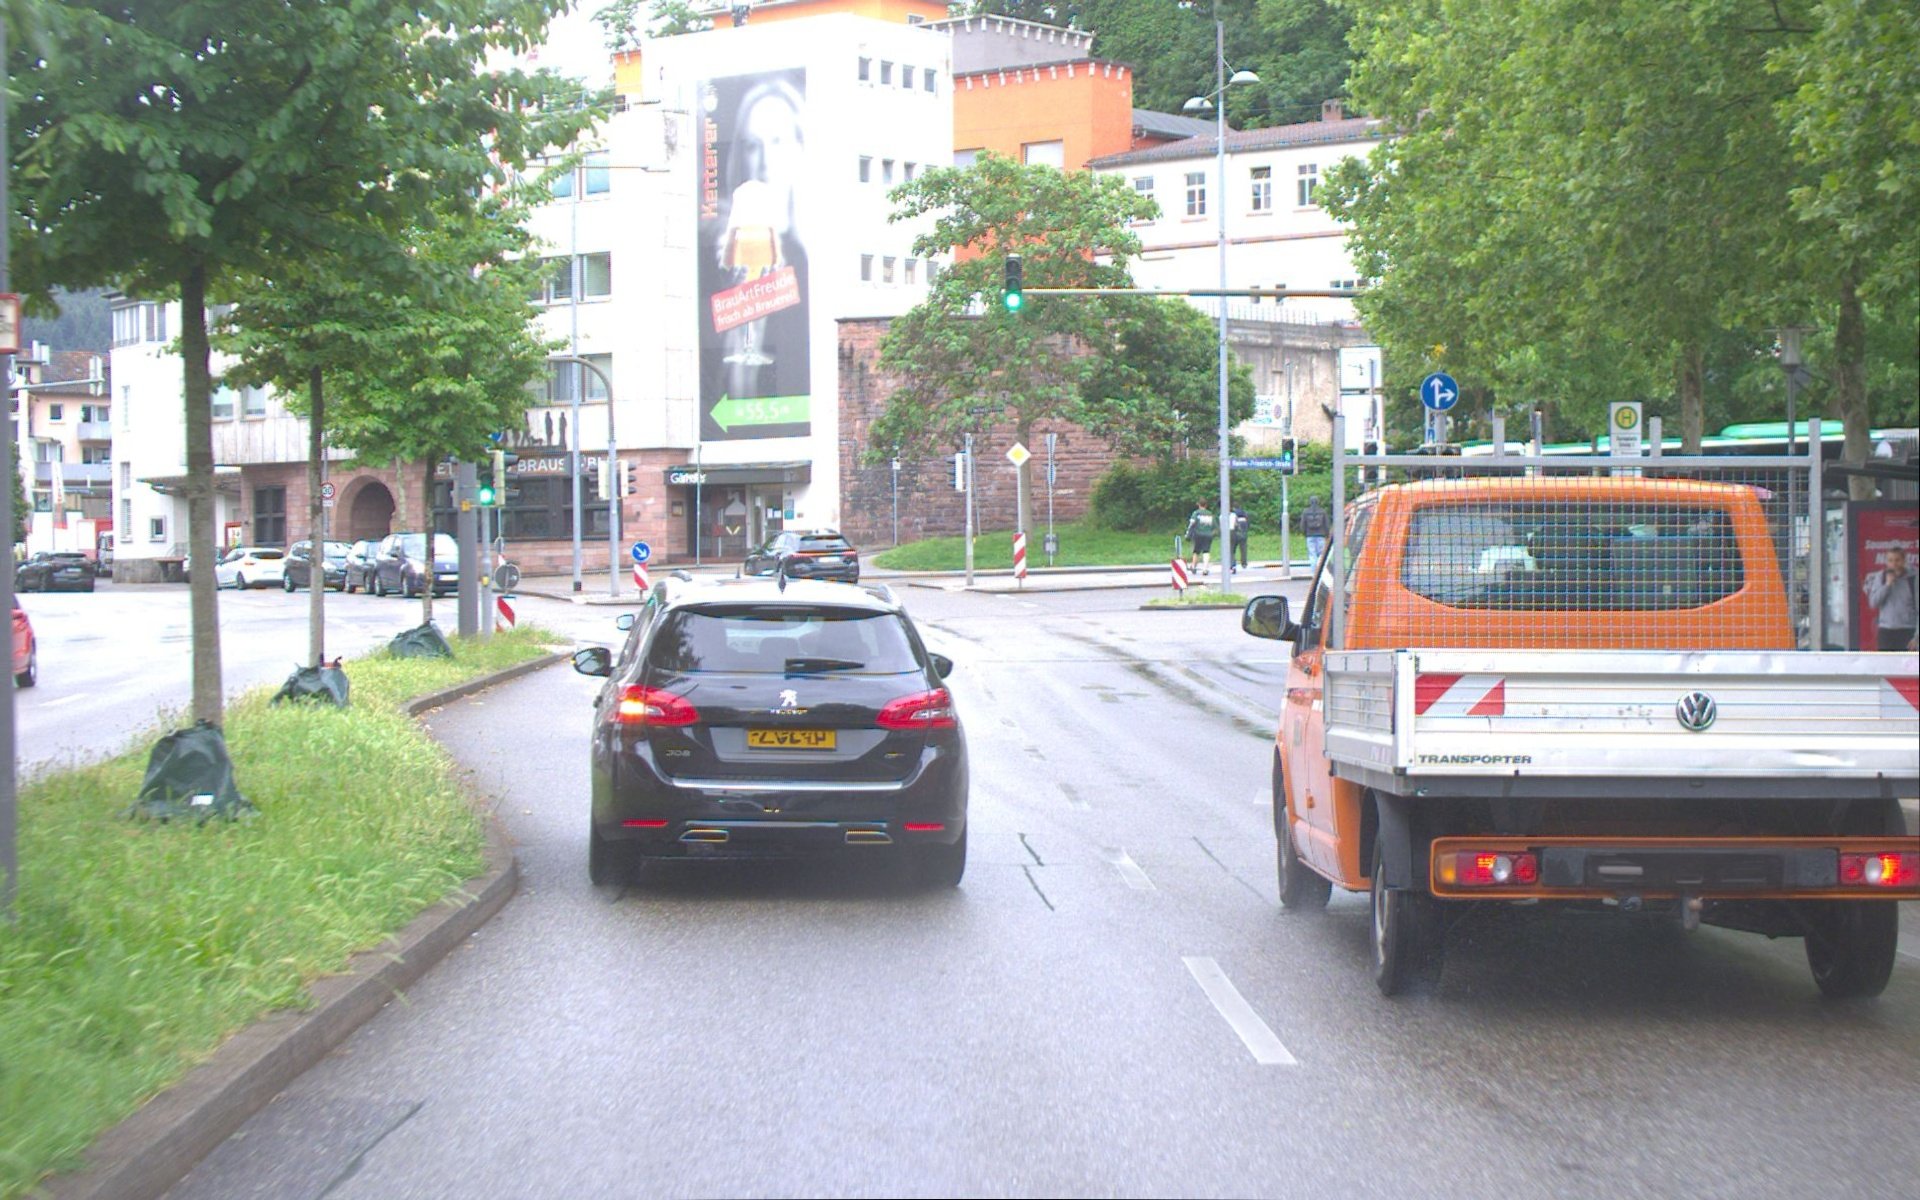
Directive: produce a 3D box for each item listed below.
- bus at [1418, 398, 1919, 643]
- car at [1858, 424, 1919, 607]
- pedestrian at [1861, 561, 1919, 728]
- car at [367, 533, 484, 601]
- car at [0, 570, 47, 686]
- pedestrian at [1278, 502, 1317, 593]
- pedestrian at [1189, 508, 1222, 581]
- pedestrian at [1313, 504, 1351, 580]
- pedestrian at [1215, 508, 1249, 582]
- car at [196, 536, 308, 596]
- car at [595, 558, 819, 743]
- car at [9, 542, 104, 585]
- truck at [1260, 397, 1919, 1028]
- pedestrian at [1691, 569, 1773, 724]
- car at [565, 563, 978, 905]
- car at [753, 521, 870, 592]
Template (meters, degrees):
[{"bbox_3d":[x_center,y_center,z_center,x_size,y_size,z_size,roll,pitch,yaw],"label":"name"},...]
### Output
[{"bbox_3d":[19.265,-1.692,75.610,17.916,5.193,3.099,0,0,-2],"label":"bus"},{"bbox_3d":[16.483,-1.367,56.462,2.072,2.960,4.228,0,0,-4],"label":"car"},{"bbox_3d":[9.711,0.455,35.303,0.724,1.694,0.623,0,0,-3],"label":"pedestrian"},{"bbox_3d":[-13.316,-0.799,85.518,1.644,1.559,3.600,3,-2,-30],"label":"car"},{"bbox_3d":[-12.793,0.333,43.797,1.690,1.397,3.662,0,1,-6],"label":"car"},{"bbox_3d":[7.447,-1.168,75.903,0.717,1.986,0.563,-2,2,-6],"label":"pedestrian"},{"bbox_3d":[5.643,-1.283,79.107,0.639,1.658,0.563,-2,2,-6],"label":"pedestrian"},{"bbox_3d":[8.214,-1.281,75.907,0.717,1.658,0.563,-2,2,-6],"label":"pedestrian"},{"bbox_3d":[6.265,-1.271,79.194,0.639,1.658,0.563,-2,2,-6],"label":"pedestrian"},{"bbox_3d":[-23.274,-1.113,112.990,1.994,1.941,3.999,0,0,-39],"label":"car"},{"bbox_3d":[-2.141,0.386,29.917,1.794,1.478,4.000,-1,1,-2],"label":"car"},{"bbox_3d":[-32.584,-1.328,123.947,3.597,1.505,1.596,1,1,43],"label":"car"},{"bbox_3d":[2.436,0.335,13.445,2.122,2.018,4.716,1,1,0],"label":"truck"},{"bbox_3d":[8.575,0.511,38.205,0.724,1.694,0.623,0,0,-3],"label":"pedestrian"},{"bbox_3d":[-0.921,0.589,17.195,1.794,1.478,4.000,1,0,-3],"label":"car"},{"bbox_3d":[-3.617,-1.027,83.138,1.644,1.559,3.601,3,-2,-22],"label":"car"}]
